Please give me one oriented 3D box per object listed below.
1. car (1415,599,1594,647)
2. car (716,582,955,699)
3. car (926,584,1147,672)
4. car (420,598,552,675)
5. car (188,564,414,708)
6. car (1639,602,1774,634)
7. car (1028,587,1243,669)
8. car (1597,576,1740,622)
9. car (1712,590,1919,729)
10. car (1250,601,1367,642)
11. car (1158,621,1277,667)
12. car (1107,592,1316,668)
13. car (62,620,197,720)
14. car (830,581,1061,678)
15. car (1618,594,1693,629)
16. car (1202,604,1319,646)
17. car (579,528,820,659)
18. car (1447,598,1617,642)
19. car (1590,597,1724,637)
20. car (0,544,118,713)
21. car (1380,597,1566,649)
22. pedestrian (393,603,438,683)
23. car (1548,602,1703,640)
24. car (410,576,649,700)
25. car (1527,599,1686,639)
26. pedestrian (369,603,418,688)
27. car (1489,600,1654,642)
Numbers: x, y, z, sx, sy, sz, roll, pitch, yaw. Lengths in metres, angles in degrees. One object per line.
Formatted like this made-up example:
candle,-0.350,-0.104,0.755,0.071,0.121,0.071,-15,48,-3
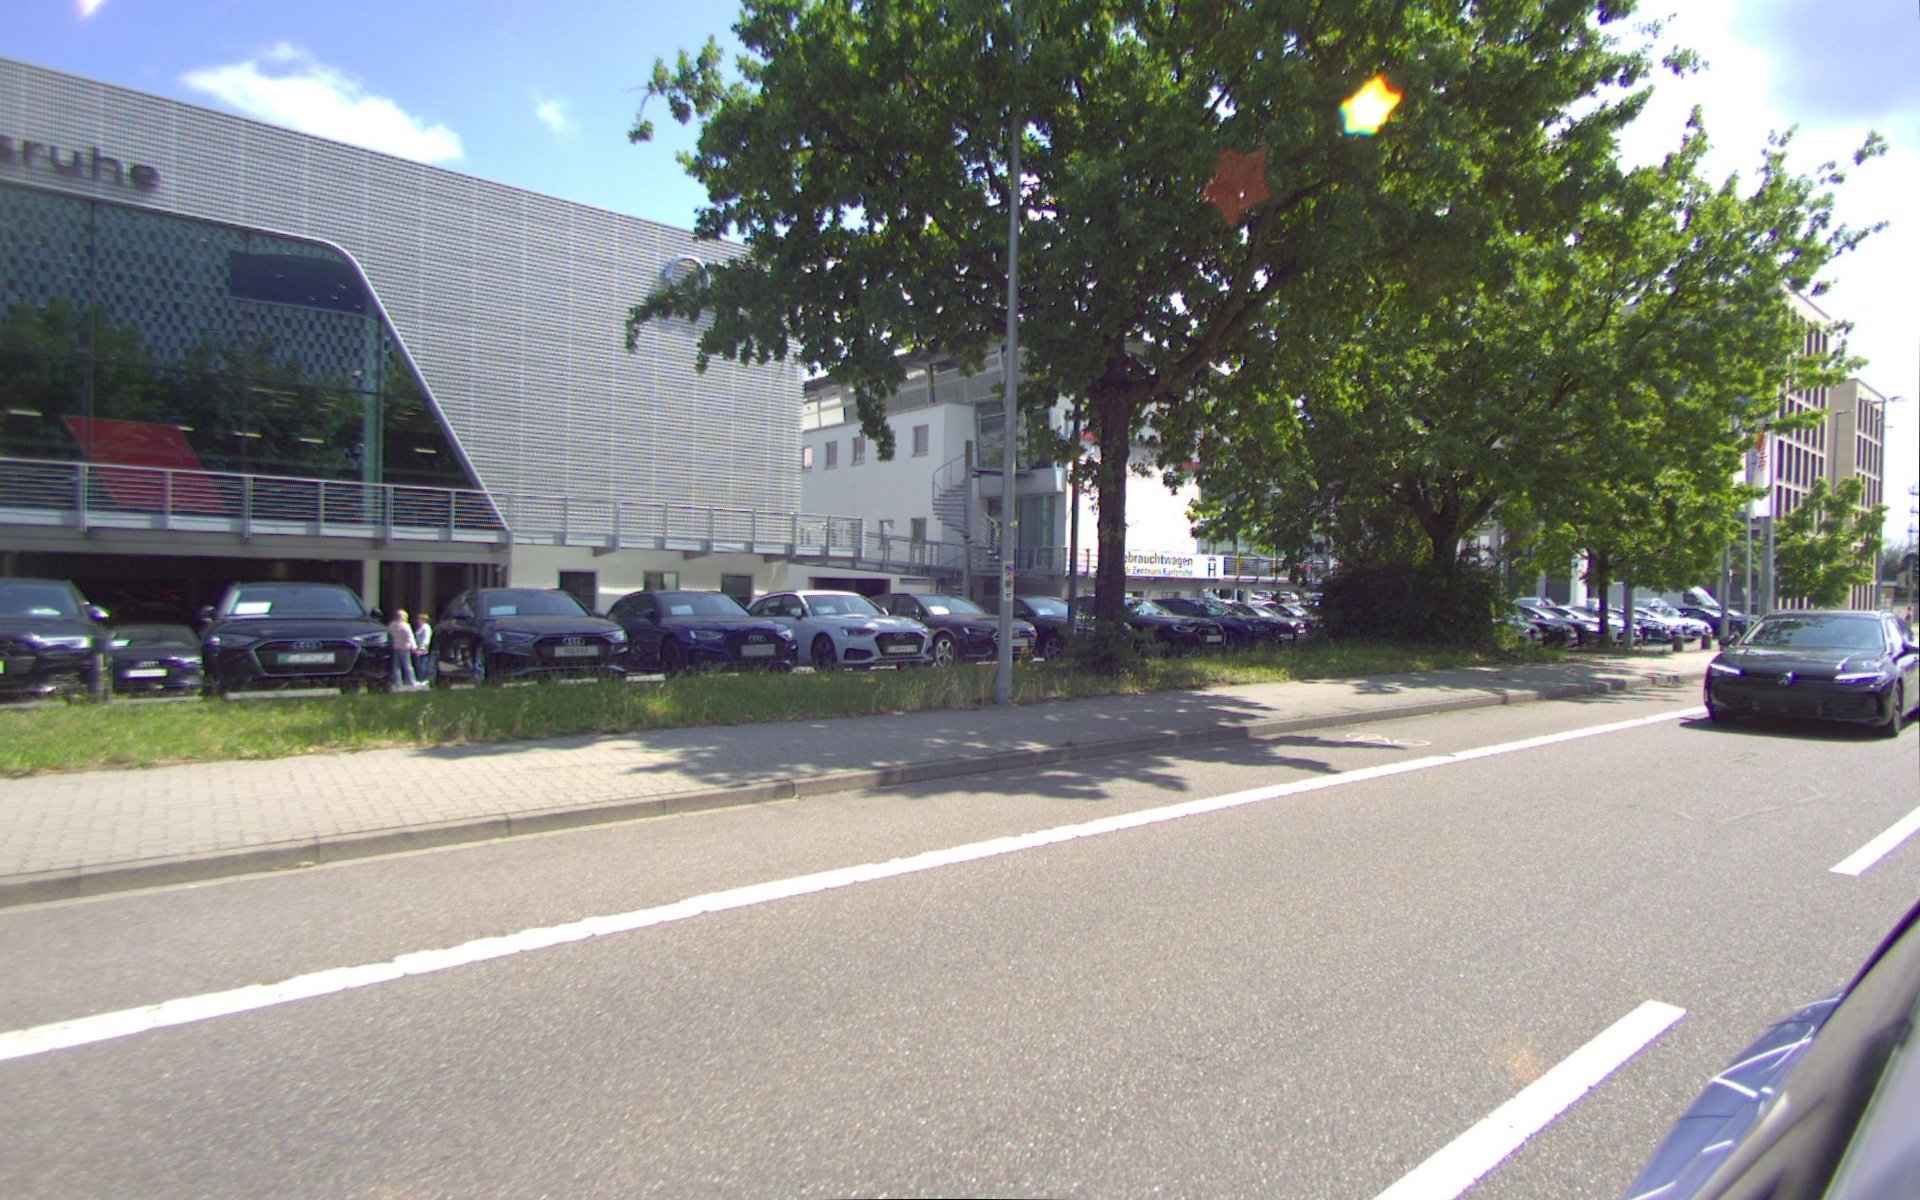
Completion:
car,16.939,0.733,31.687,1.872,1.402,4.585,3,-3,-38
car,-2.244,0.591,17.090,1.872,1.699,4.586,3,-1,-38
car,1.425,0.481,20.577,1.872,1.517,4.587,0,1,-38
car,-11.200,0.773,23.752,1.872,1.517,4.358,0,1,-38
car,-8.175,0.359,12.344,1.872,1.423,4.586,3,-1,-38
car,33.456,0.789,45.467,1.872,1.314,4.586,3,-1,-38
car,3.725,0.530,22.223,1.872,1.517,4.587,0,1,-38
car,43.184,-0.072,61.904,2.097,2.640,6.868,2,-1,-31
car,11.760,0.694,13.440,5.113,1.497,1.811,2,0,-41
car,14.690,0.859,42.814,1.872,1.517,4.358,0,1,-38
car,10.188,1.694,40.253,1.872,1.517,4.358,0,1,-38
car,5.778,0.620,23.779,1.872,1.517,4.587,0,1,-38
car,-16.236,1.267,19.909,1.872,1.517,4.358,0,1,-38
car,-0.410,0.441,18.691,1.872,1.517,4.587,0,1,-38
car,36.359,0.605,52.904,4.504,1.699,1.906,3,-1,-37
car,12.357,0.990,41.807,1.872,1.517,4.358,0,1,-38
car,-4.153,-0.080,15.571,1.872,1.699,4.586,3,-1,-38
car,19.007,0.719,33.816,1.872,1.314,4.584,3,-4,-38
car,27.470,0.696,39.999,1.763,1.483,3.995,0,-2,-38
car,-10.193,0.411,10.737,1.753,1.533,4.355,3,-6,-38
car,15.166,0.754,30.135,1.872,1.423,4.584,3,-4,-38
pedestrian,-12.569,0.984,23.378,0.806,1.797,0.781,2,-1,-26
car,25.301,0.772,38.606,1.872,1.314,4.586,3,-1,-38
car,-6.093,0.446,13.998,1.872,1.423,4.586,3,-1,-38
car,23.614,0.668,37.110,1.872,1.314,4.586,3,-1,-38
pedestrian,-12.321,0.975,22.039,0.806,1.797,0.781,2,-1,-26
car,21.331,0.722,35.474,1.872,1.314,4.586,3,-1,-38
